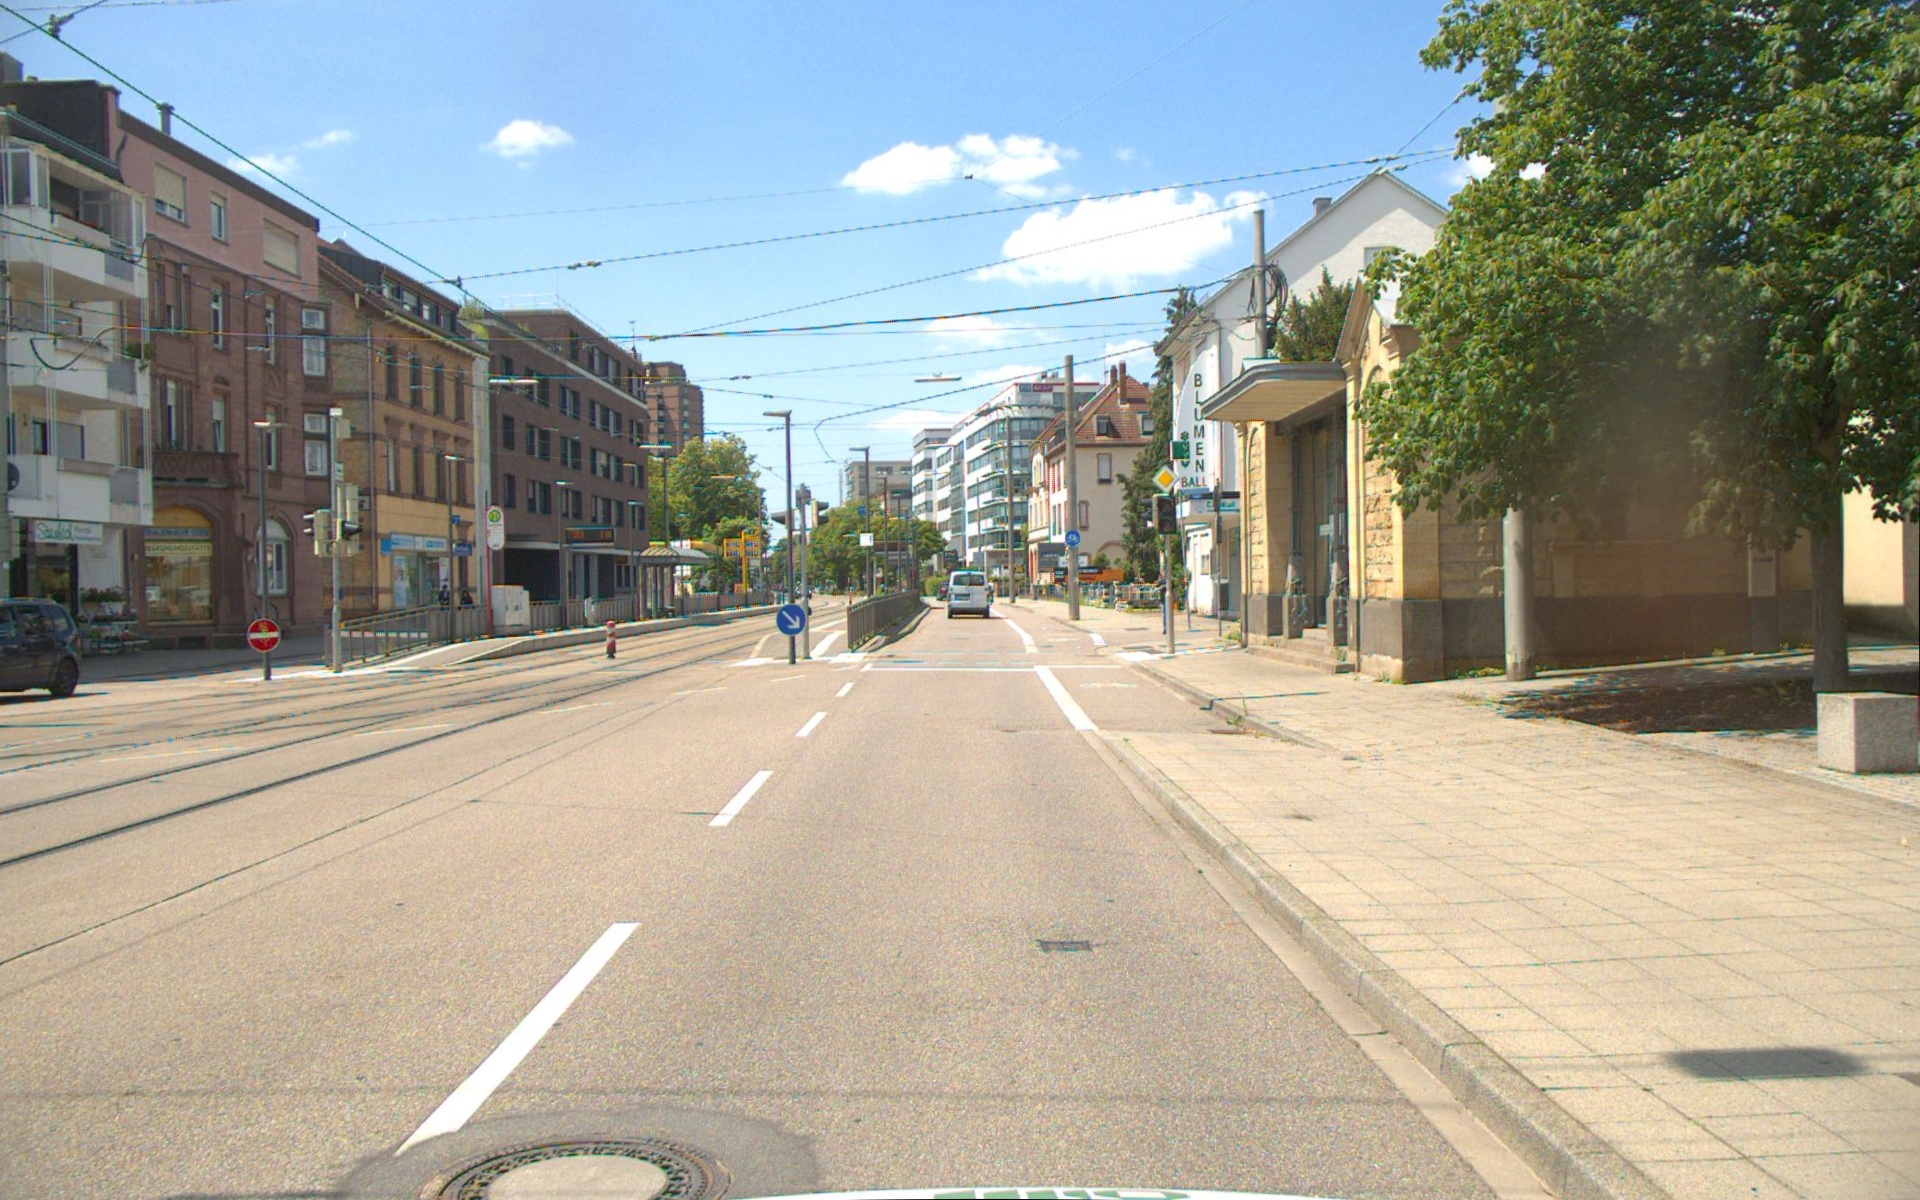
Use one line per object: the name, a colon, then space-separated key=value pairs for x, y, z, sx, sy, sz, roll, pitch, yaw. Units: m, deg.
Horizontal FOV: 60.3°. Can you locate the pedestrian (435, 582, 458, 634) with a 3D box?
pedestrian: x=-20.685 y=0.307 z=66.640 sx=0.605 sy=2.049 sz=0.810 roll=-2 pitch=0 yaw=-2

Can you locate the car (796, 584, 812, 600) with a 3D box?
car: x=-18.904 y=-1.013 z=200.356 sx=1.667 sy=1.644 sz=3.750 roll=-5 pitch=-2 yaw=-8

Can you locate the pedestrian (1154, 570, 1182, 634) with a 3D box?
pedestrian: x=5.266 y=0.044 z=41.965 sx=0.565 sy=1.583 sz=0.786 roll=-3 pitch=0 yaw=3

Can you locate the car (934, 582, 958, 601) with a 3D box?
car: x=-1.386 y=-0.861 z=161.239 sx=1.827 sy=1.716 sz=4.995 roll=-2 pitch=1 yaw=-5

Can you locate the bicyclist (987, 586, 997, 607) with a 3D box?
bicyclist: x=2.149 y=-0.227 z=110.196 sx=0.579 sy=1.421 sz=0.841 roll=-1 pitch=1 yaw=-5

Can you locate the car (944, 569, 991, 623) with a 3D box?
car: x=0.289 y=-0.200 z=67.109 sx=1.717 sy=2.048 sz=3.999 roll=-2 pitch=1 yaw=-2

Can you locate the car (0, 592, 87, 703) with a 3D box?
car: x=-15.767 y=0.757 z=26.108 sx=1.688 sy=1.712 sz=4.279 roll=-2 pitch=0 yaw=-1

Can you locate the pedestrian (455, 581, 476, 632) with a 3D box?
pedestrian: x=-19.940 y=0.267 z=66.729 sx=0.663 sy=2.049 sz=0.684 roll=0 pitch=0 yaw=-2
